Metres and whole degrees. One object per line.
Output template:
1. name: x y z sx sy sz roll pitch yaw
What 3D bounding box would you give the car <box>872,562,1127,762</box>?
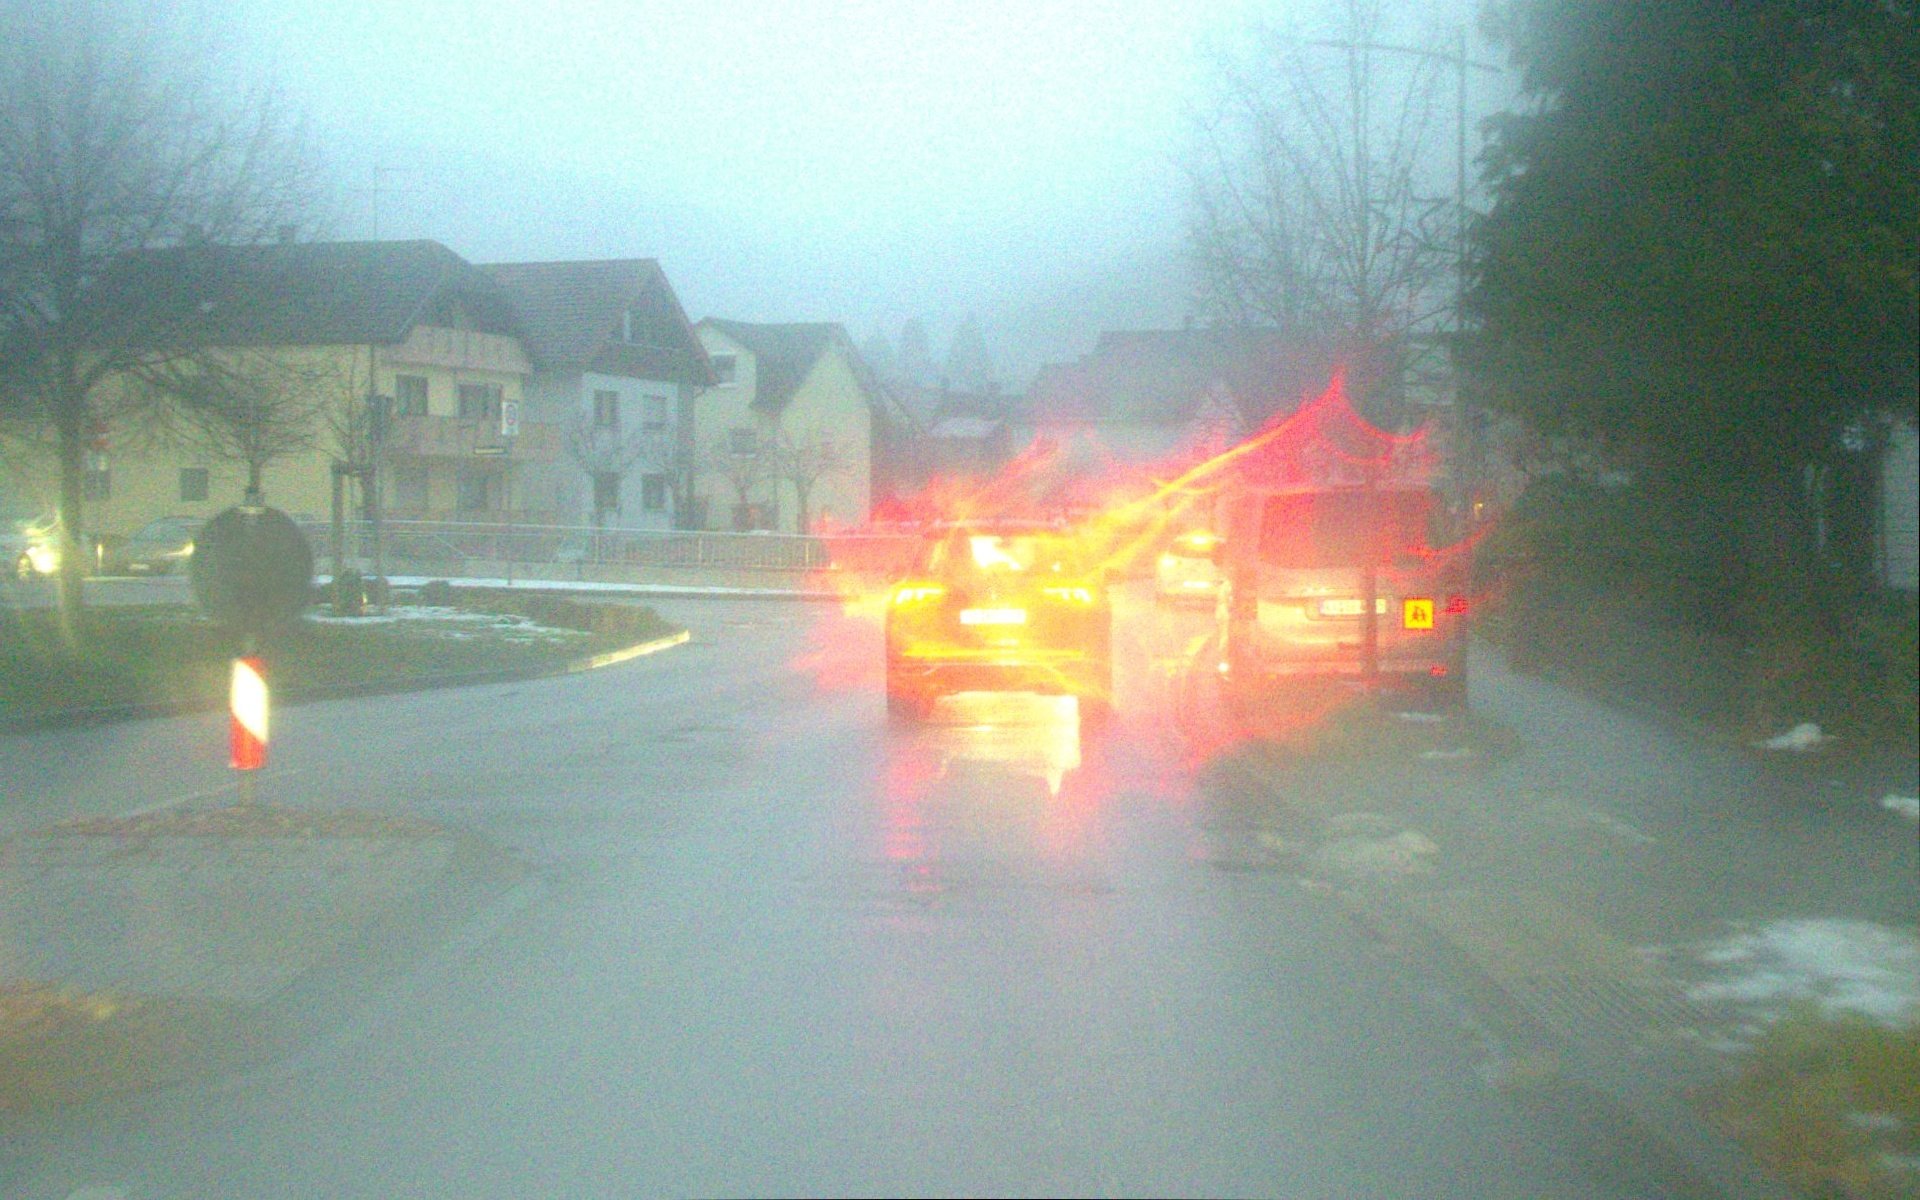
1. car: 0.285 0.471 29.267 1.993 1.520 4.000 1 1 -1

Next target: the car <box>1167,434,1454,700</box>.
1. car: 2.884 -0.331 29.471 1.977 2.006 5.745 -2 1 2

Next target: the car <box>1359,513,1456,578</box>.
1. car: 11.983 -1.467 91.958 1.995 1.664 3.997 1 1 16

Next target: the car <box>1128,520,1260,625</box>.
1. car: 4.725 -0.544 68.823 1.995 2.007 3.998 1 1 13

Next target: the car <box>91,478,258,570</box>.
1. car: -18.220 -1.750 79.877 1.995 2.006 3.997 3 2 17
